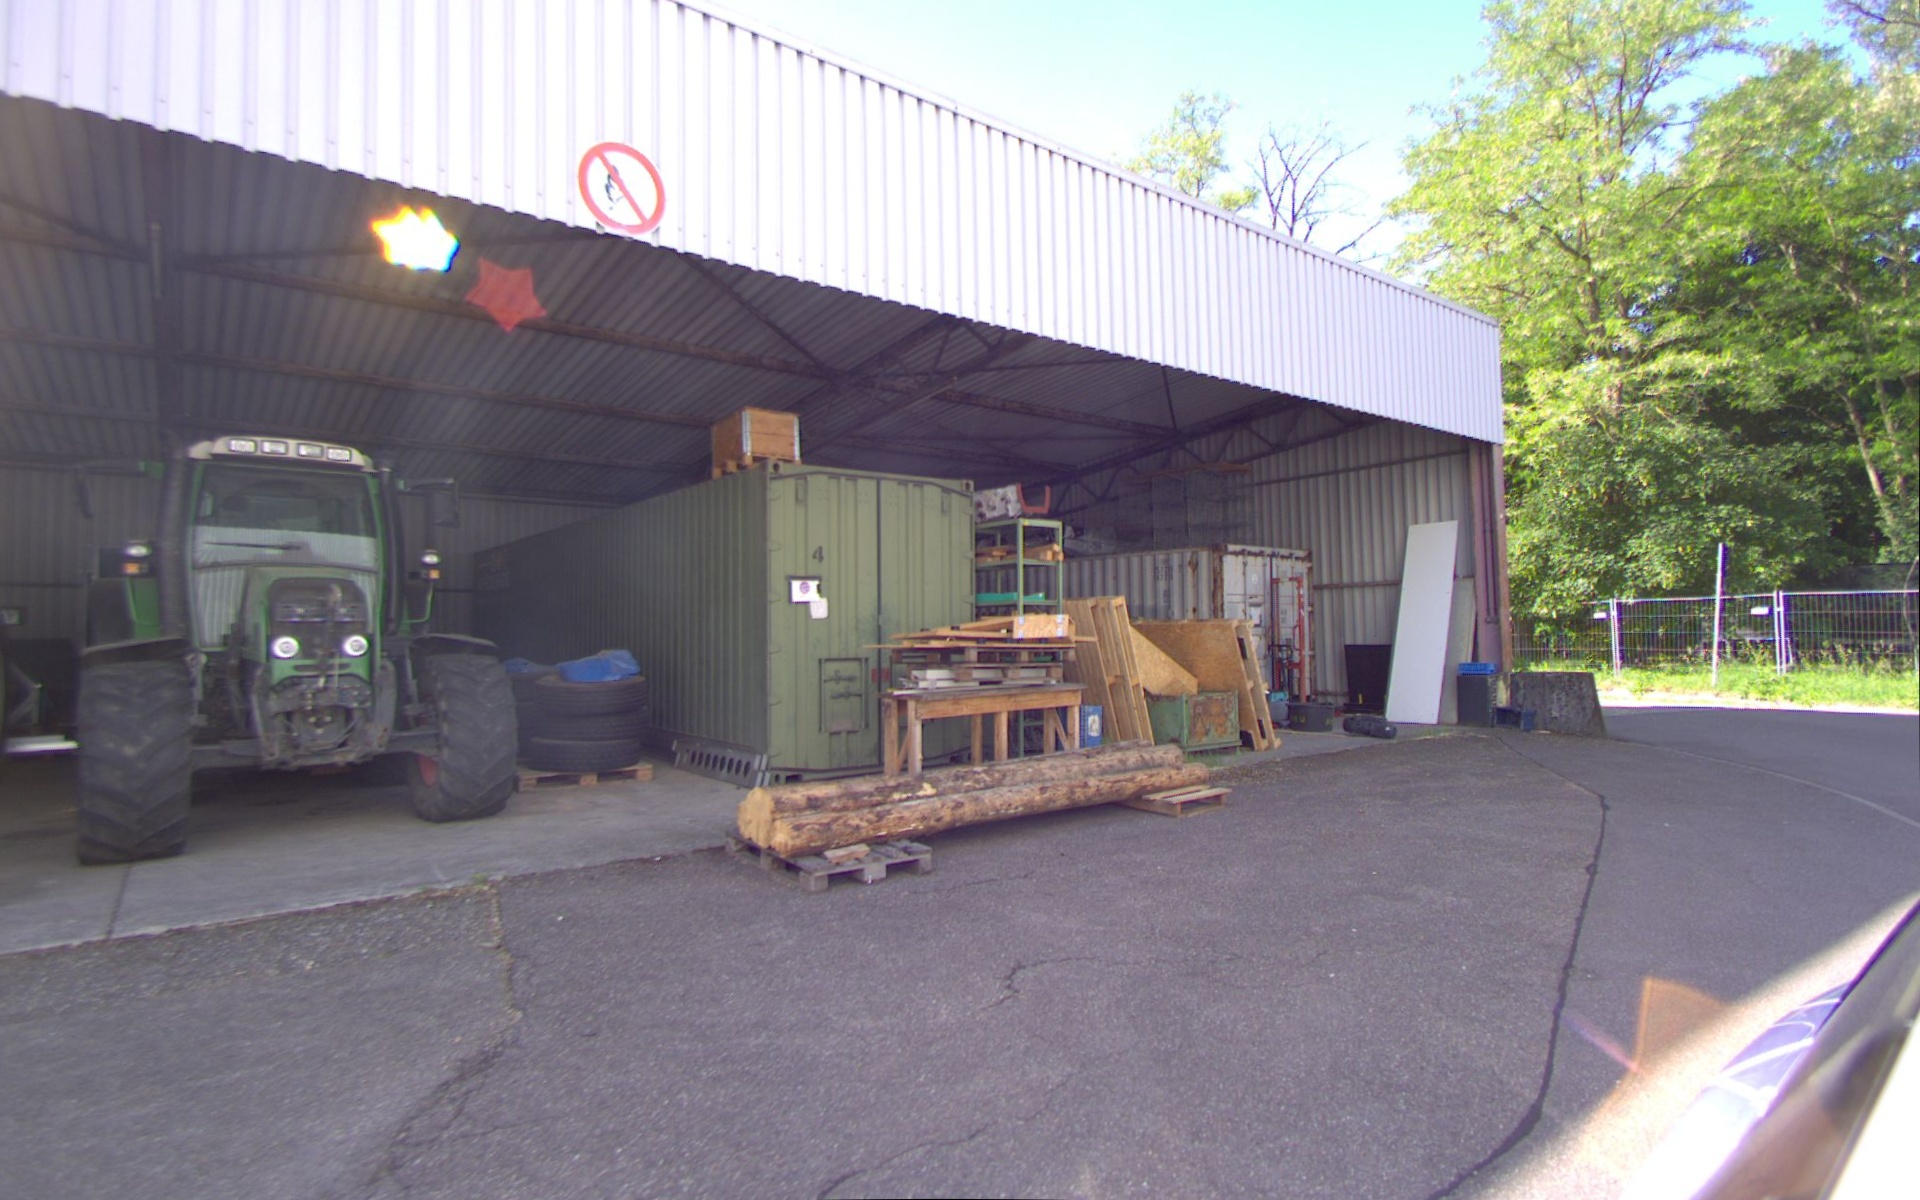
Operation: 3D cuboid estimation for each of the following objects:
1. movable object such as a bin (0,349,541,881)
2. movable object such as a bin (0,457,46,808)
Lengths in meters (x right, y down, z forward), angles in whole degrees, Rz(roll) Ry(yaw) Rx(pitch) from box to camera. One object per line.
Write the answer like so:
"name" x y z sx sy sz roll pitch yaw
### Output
"movable object such as a bin" -7.050 0.261 10.070 3.152 2.948 9.214 1 -3 -37
"movable object such as a bin" -9.090 0.273 7.401 2.960 2.948 6.200 1 -3 -37
